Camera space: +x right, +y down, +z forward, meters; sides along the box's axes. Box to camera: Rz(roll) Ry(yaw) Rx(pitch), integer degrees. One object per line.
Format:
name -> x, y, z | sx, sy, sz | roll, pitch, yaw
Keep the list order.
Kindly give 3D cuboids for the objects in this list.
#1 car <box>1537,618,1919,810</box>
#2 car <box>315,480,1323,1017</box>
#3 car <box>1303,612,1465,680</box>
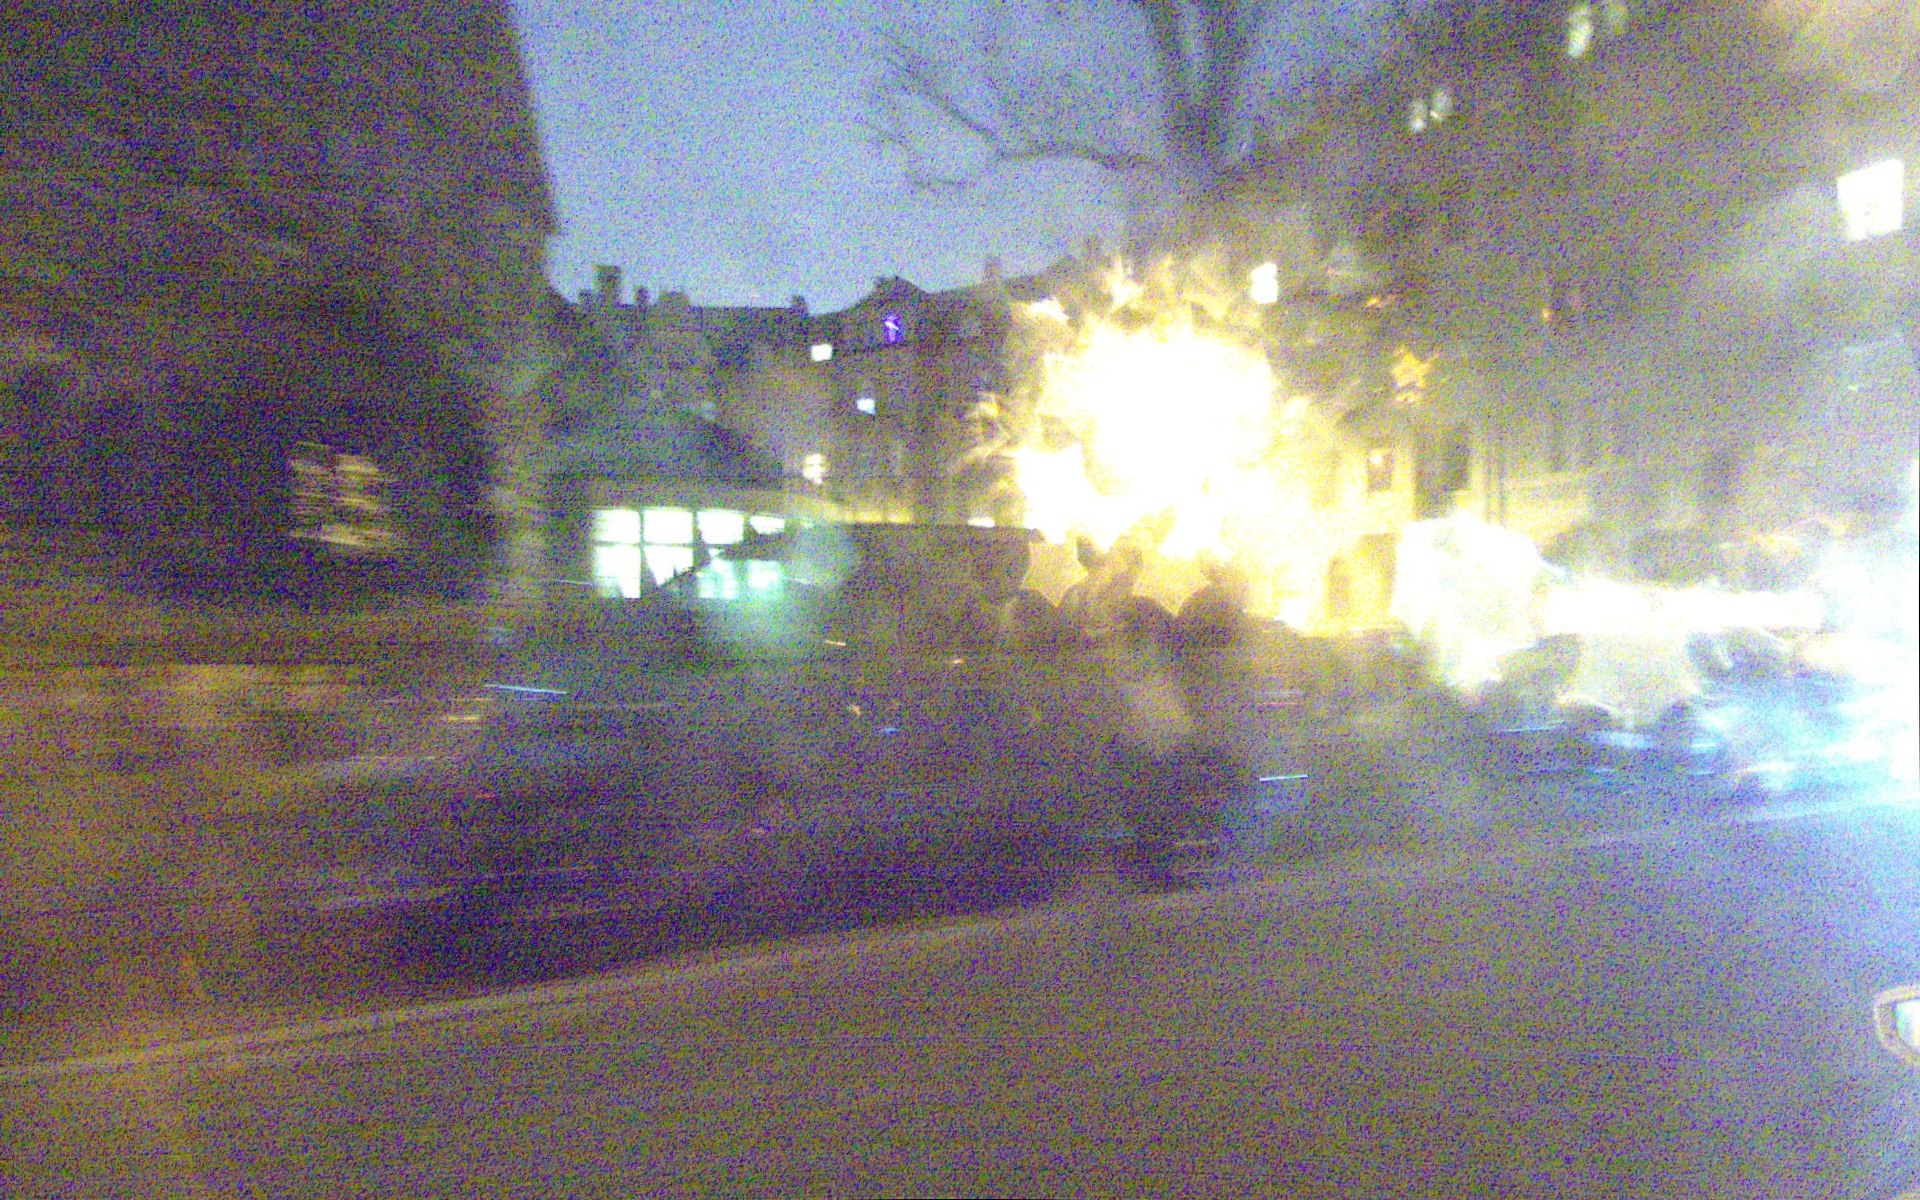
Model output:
car -> 7.267, 0.947, 9.450 | 3.519, 1.462, 1.540 | 1, 1, -28
car -> -0.499, 0.579, 5.405 | 4.763, 1.870, 1.860 | 1, -2, -26
car -> 11.830, 1.239, 28.299 | 1.862, 1.703, 3.973 | 1, 0, -26
